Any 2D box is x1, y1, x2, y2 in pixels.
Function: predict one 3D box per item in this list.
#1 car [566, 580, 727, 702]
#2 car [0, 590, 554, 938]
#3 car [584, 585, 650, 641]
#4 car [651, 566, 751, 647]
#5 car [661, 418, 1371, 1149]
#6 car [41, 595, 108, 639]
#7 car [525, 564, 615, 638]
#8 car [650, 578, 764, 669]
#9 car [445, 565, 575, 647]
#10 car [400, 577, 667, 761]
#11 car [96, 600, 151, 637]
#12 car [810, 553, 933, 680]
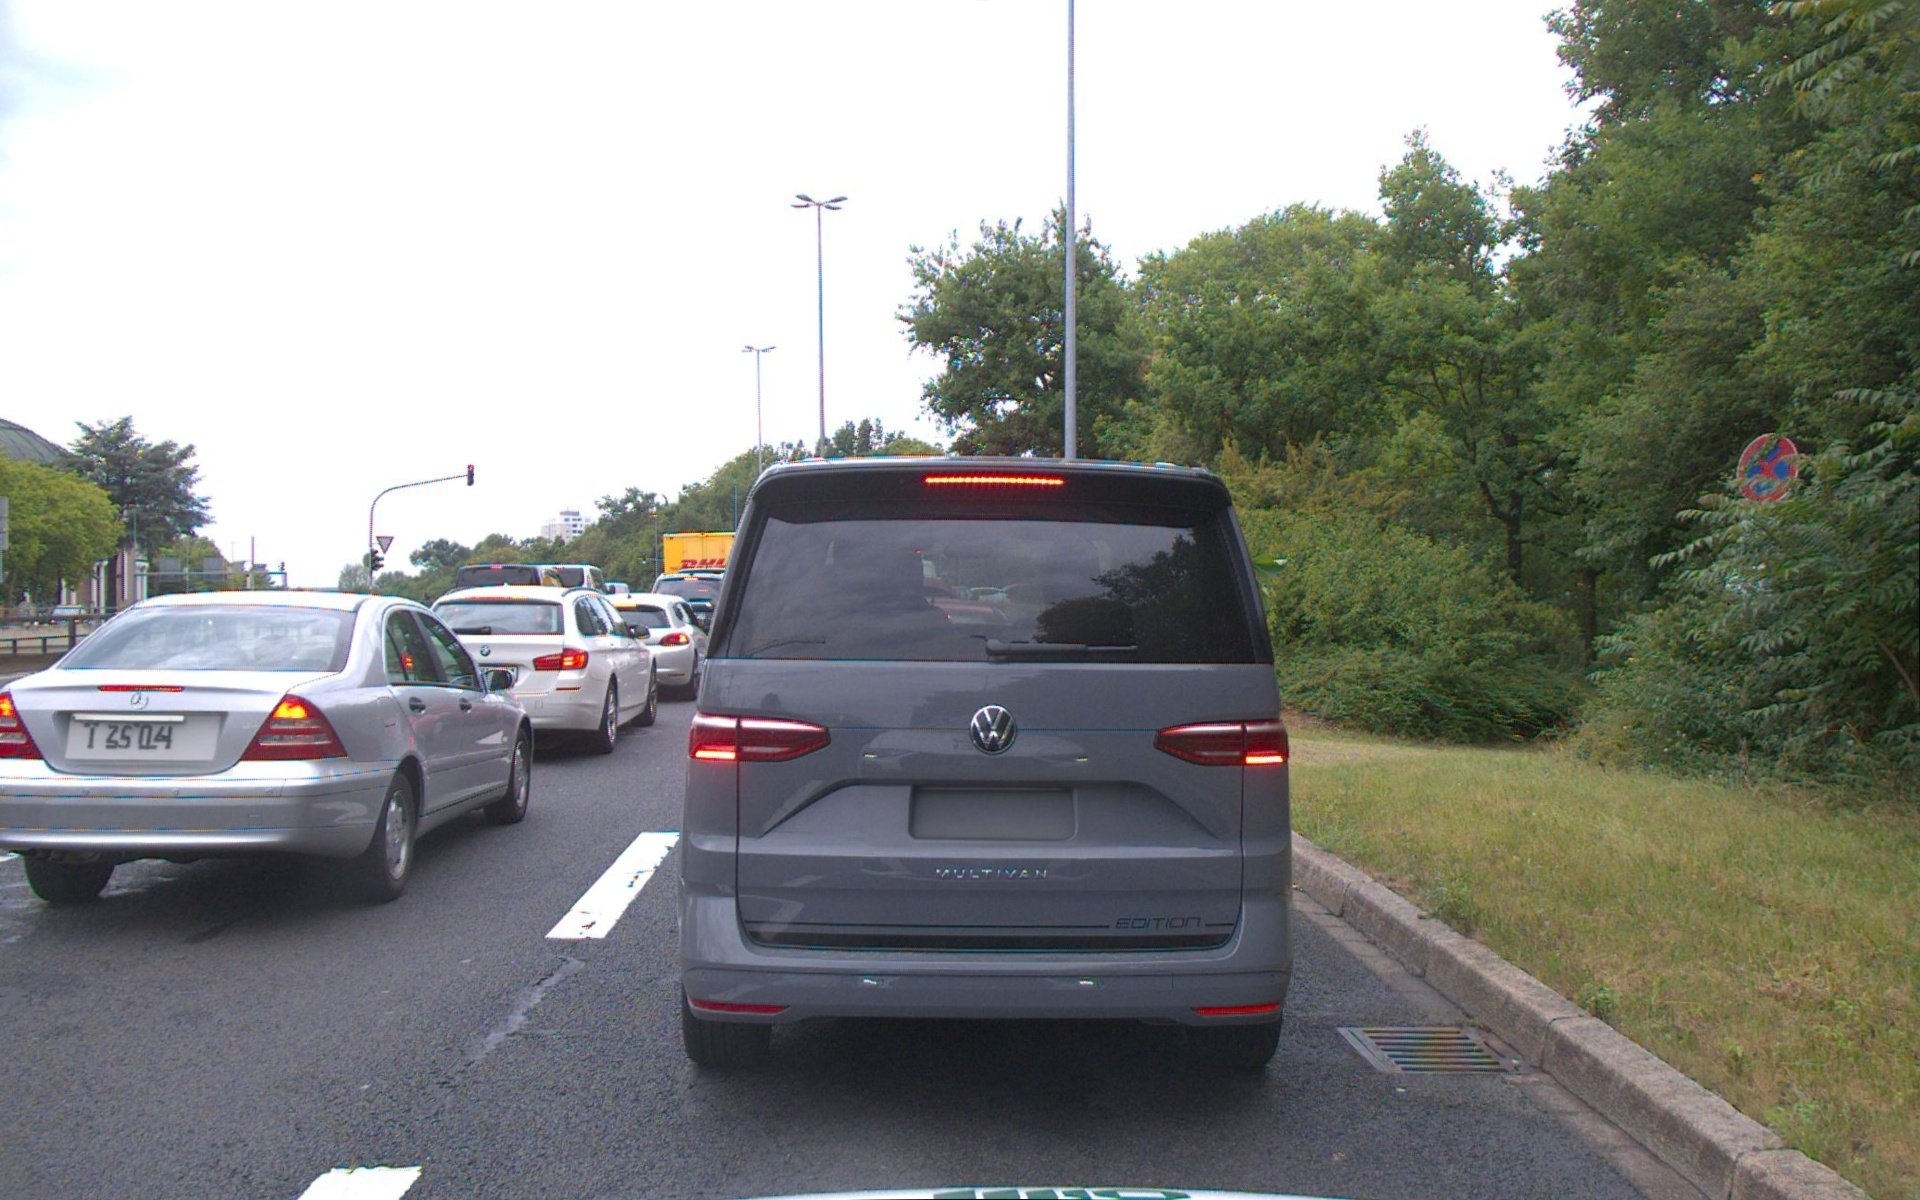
[{"bbox_3d":[-4.271,0.517,23.074,1.591,1.521,4.294,1,0,-3],"label":"car"},{"bbox_3d":[-3.437,0.673,8.941,1.591,1.419,4.306,1,0,-3],"label":"car"},{"bbox_3d":[-11.113,0.415,53.807,1.592,1.731,4.291,1,0,-5],"label":"car"},{"bbox_3d":[-5.890,0.140,38.083,1.847,1.730,4.426,1,0,-4],"label":"car"},{"bbox_3d":[0.133,0.488,6.587,1.860,1.917,4.415,1,0,-1],"label":"car"},{"bbox_3d":[-52.458,0.976,98.108,2.295,2.503,5.208,0,0,-14],"label":"car"},{"bbox_3d":[-9.654,0.022,41.202,1.592,1.731,4.291,1,0,-5],"label":"car"},{"bbox_3d":[-4.554,0.403,30.229,1.591,1.521,4.294,1,0,-3],"label":"car"},{"bbox_3d":[-8.978,0.108,33.314,1.591,1.521,4.294,1,0,-3],"label":"car"},{"bbox_3d":[-3.954,0.577,16.057,1.591,1.521,4.544,1,0,-3],"label":"car"},{"bbox_3d":[-58.222,1.254,115.229,2.295,2.503,5.208,0,0,-14],"label":"car"},{"bbox_3d":[-1.485,0.252,27.516,1.847,1.912,4.426,1,0,-4],"label":"car"}]
